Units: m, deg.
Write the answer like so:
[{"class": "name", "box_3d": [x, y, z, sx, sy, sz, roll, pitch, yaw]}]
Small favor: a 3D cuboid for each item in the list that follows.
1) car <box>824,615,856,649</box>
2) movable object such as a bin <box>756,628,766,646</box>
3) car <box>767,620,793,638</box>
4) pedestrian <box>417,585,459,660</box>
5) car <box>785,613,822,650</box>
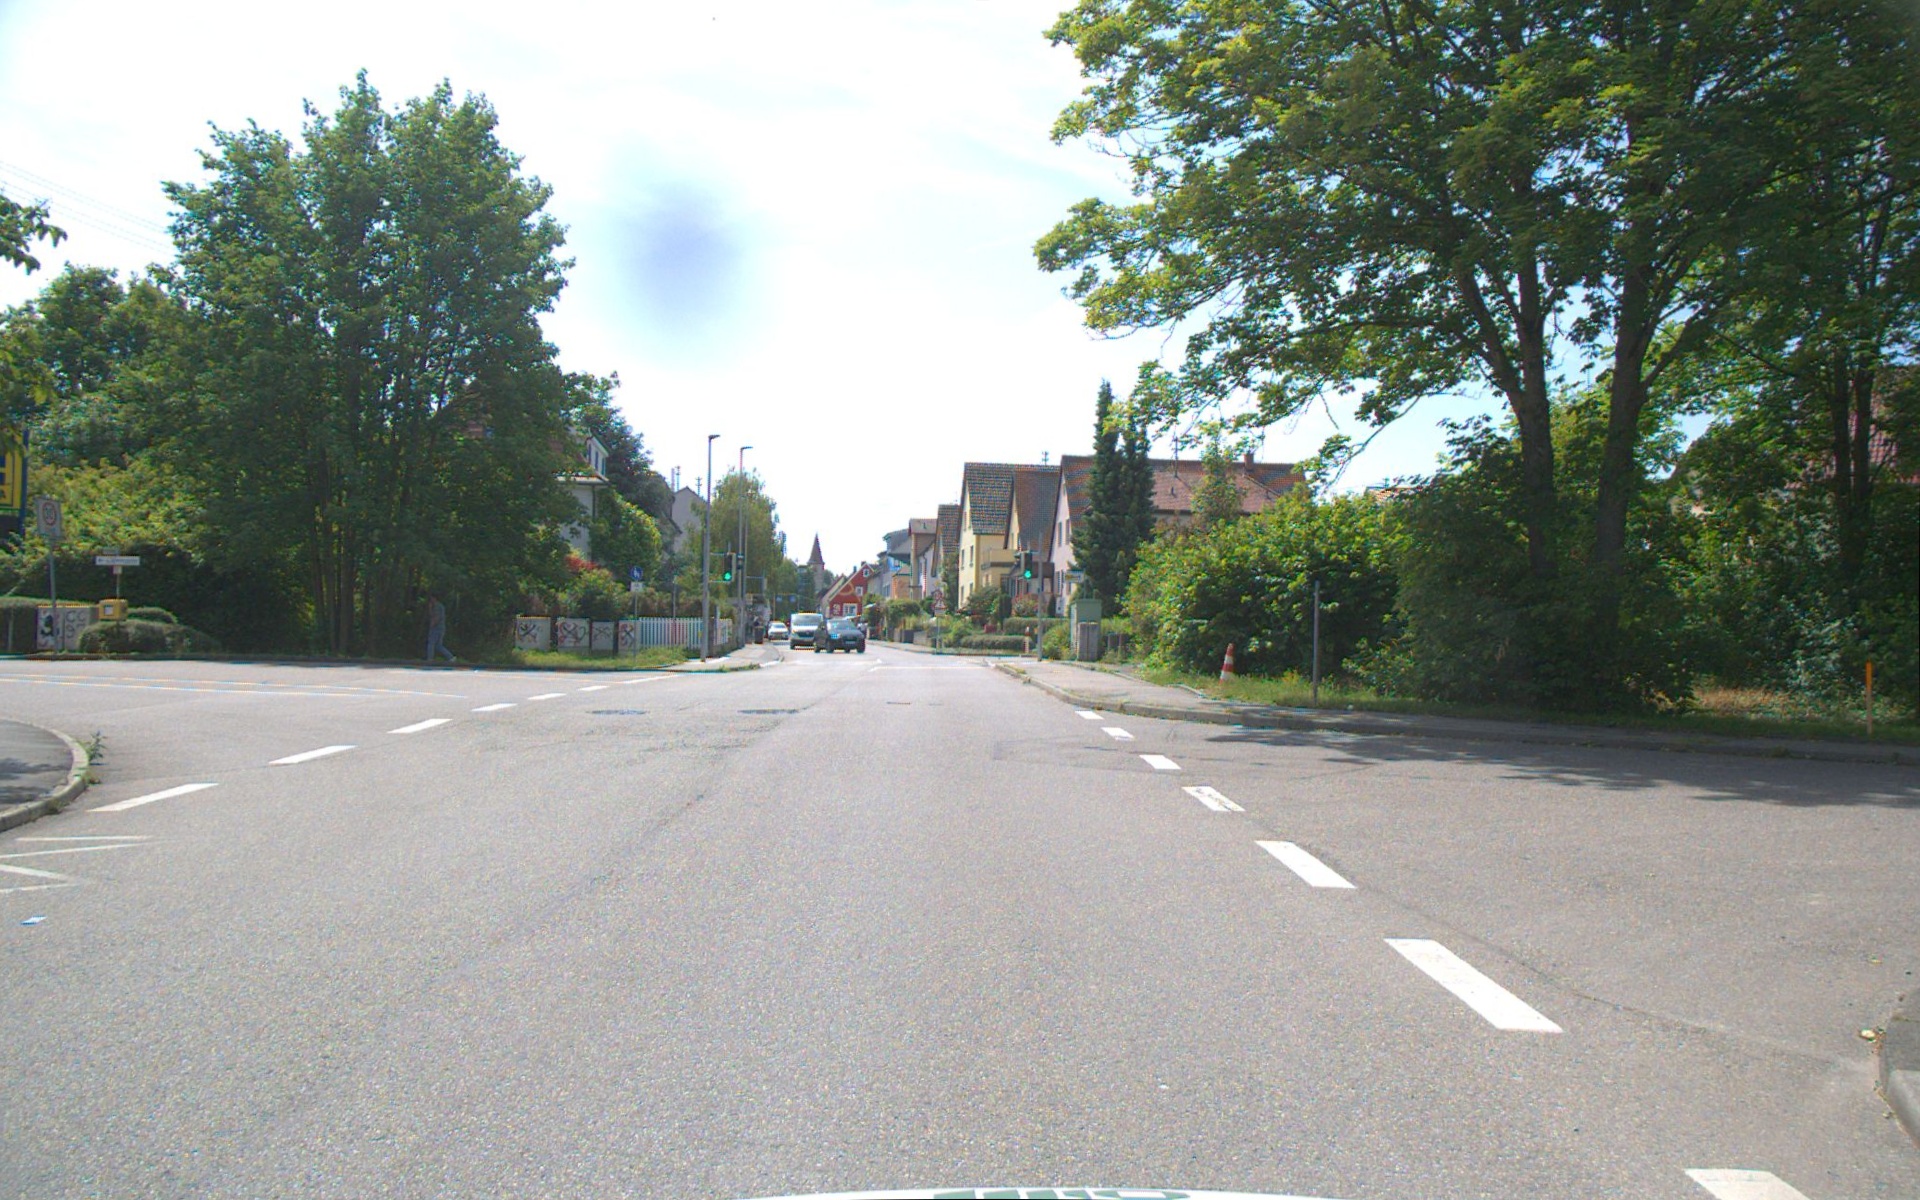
[{"class": "car", "box_3d": [-5.790, 1.539, 79.920, 1.504, 1.568, 4.301, 0, 0, -4]}, {"class": "movable object such as a bin", "box_3d": [-12.683, 2.351, 105.533, 0.596, 1.064, 0.724, 2, 0, -7]}, {"class": "car", "box_3d": [-15.992, 2.570, 147.081, 2.068, 1.588, 4.311, 0, -1, -3]}, {"class": "pedestrian", "box_3d": [-12.905, 0.569, 40.883, 0.720, 1.809, 0.690, -2, -2, 17]}, {"class": "car", "box_3d": [-8.772, 1.796, 92.603, 1.844, 1.999, 4.894, -1, -1, -8]}]
